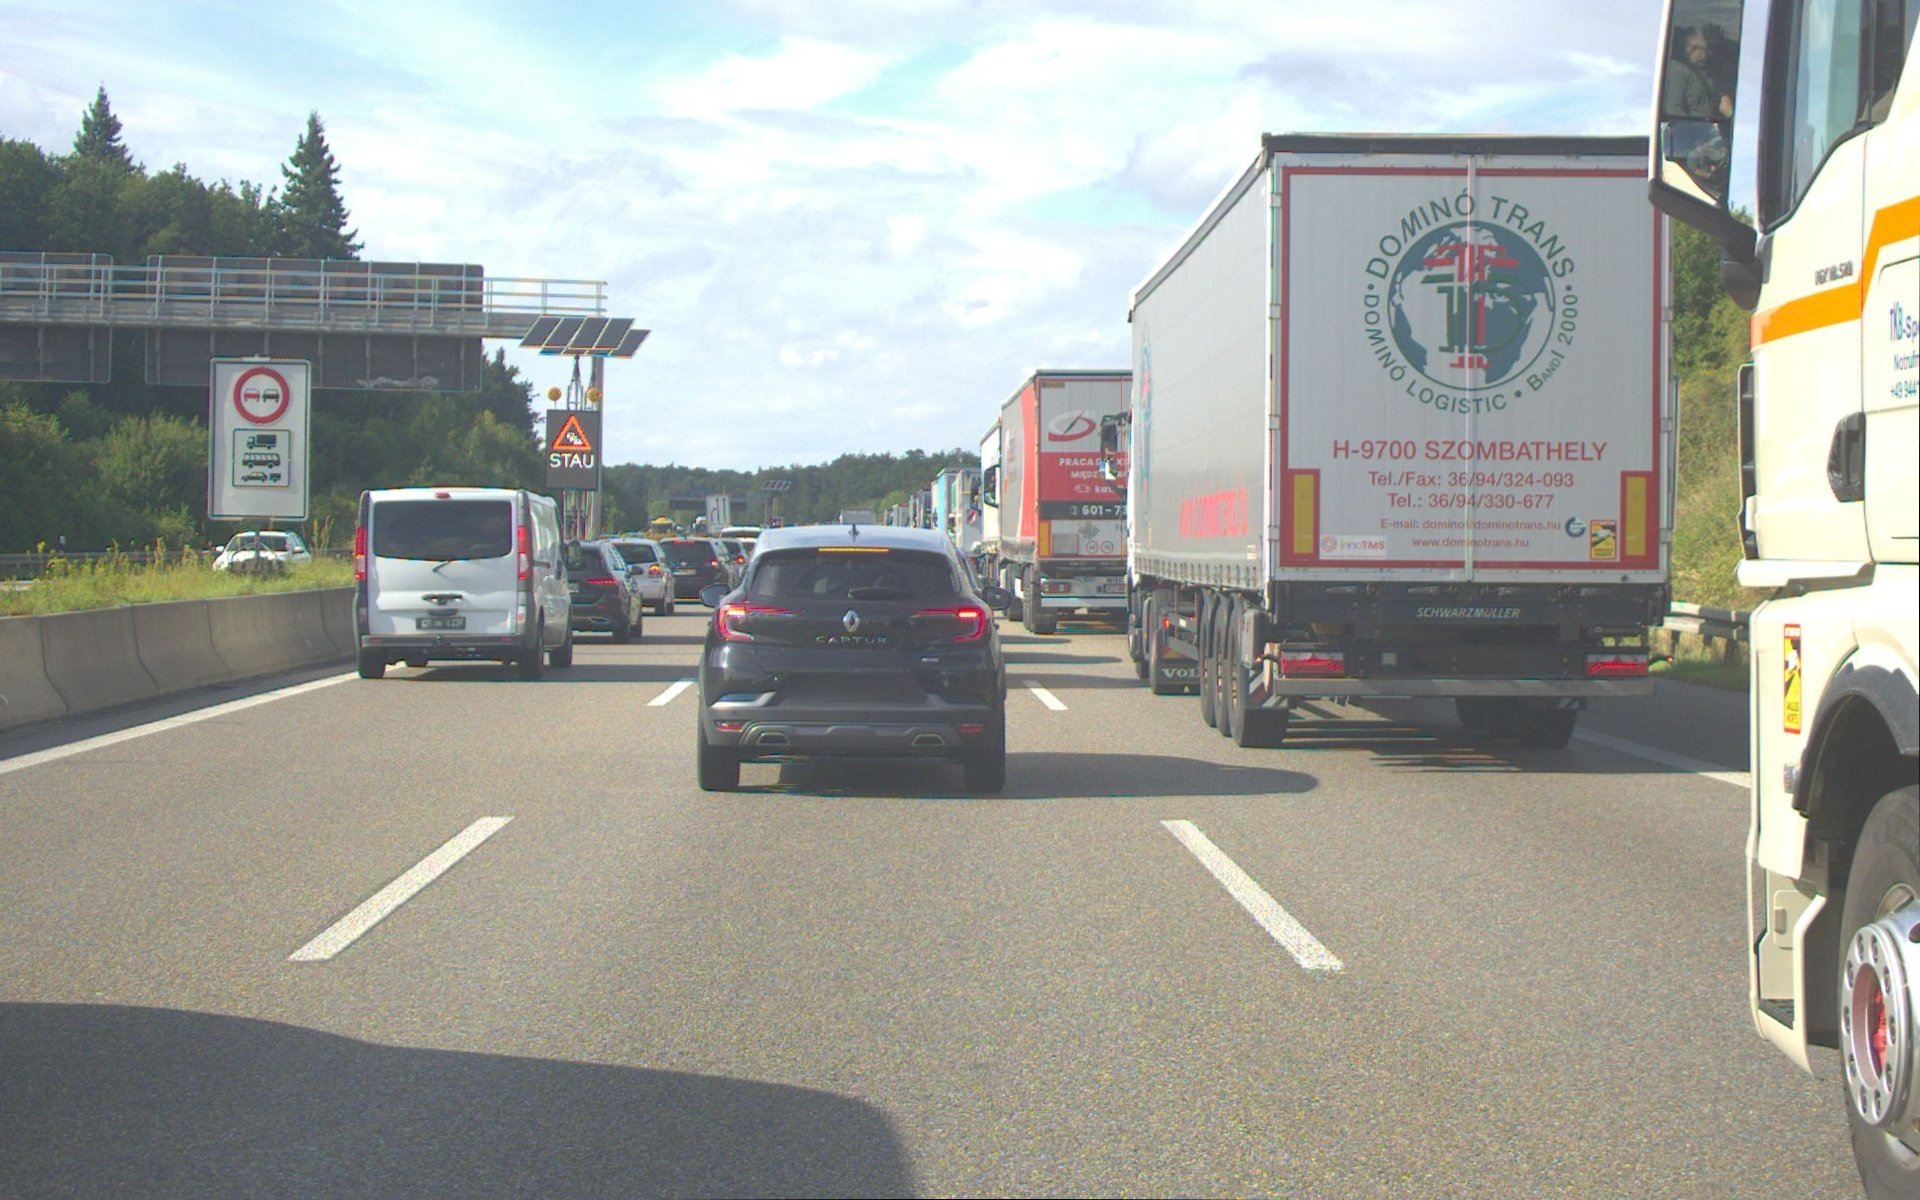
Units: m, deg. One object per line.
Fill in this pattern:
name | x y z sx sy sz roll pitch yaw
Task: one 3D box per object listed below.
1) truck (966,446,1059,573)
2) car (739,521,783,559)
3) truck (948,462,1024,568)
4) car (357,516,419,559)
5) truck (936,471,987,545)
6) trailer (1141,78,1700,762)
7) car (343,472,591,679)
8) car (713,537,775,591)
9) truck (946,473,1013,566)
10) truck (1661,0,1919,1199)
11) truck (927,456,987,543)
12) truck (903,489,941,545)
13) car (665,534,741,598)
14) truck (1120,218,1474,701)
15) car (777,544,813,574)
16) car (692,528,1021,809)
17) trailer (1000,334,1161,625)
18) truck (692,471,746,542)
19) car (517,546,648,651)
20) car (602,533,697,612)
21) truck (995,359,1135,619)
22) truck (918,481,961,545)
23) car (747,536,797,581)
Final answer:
truck | 1.263 -2.207 84.742 1.993 2.922 4.982 4 1 -1
car | -6.650 -2.015 115.014 1.360 1.234 3.085 1 1 -1
truck | 0.741 -2.461 101.104 1.993 2.922 4.982 4 1 -1
car | -24.007 -2.622 144.453 1.888 1.678 4.000 4 1 -1
truck | 0.065 -3.988 150.140 1.993 3.042 4.982 4 1 -1
trailer | 3.141 -1.188 26.800 2.802 4.229 11.057 0 1 0
car | -5.246 -0.286 37.213 1.933 1.972 5.099 4 1 -1
car | -5.730 -0.970 91.380 1.434 1.305 3.534 4 1 -2
truck | 0.640 -2.655 114.941 1.993 2.922 4.982 4 1 -1
truck | 3.127 -0.407 5.403 2.533 3.571 6.730 0 1 -1
truck | -0.129 -3.695 127.602 1.993 3.042 4.982 4 1 -1
truck | -2.174 -4.798 199.561 1.993 3.042 4.982 4 1 -1
car | -5.720 -0.772 76.809 1.434 1.305 3.534 4 1 -2
truck | 3.104 -1.279 33.402 2.786 4.232 6.460 0 1 0
car | -6.502 -1.619 135.641 1.360 1.155 3.085 0 1 -1
car | -0.544 0.340 21.252 1.697 1.478 4.160 1 2 3
trailer | 1.819 -1.831 54.783 2.150 4.244 8.441 1 1 -1
truck | -12.843 -4.949 183.843 2.344 3.582 6.306 4 1 -1
car | -5.348 -0.048 49.055 1.500 1.391 3.476 2 1 -1
car | -5.932 -0.545 66.002 1.500 1.391 3.476 4 1 -1
truck | 1.763 -1.879 60.035 2.134 4.267 6.339 1 1 -1
truck | -1.041 -4.381 174.066 1.993 3.042 4.982 4 1 -1
car | -5.792 -1.294 106.156 1.361 1.296 3.085 4 1 -1
